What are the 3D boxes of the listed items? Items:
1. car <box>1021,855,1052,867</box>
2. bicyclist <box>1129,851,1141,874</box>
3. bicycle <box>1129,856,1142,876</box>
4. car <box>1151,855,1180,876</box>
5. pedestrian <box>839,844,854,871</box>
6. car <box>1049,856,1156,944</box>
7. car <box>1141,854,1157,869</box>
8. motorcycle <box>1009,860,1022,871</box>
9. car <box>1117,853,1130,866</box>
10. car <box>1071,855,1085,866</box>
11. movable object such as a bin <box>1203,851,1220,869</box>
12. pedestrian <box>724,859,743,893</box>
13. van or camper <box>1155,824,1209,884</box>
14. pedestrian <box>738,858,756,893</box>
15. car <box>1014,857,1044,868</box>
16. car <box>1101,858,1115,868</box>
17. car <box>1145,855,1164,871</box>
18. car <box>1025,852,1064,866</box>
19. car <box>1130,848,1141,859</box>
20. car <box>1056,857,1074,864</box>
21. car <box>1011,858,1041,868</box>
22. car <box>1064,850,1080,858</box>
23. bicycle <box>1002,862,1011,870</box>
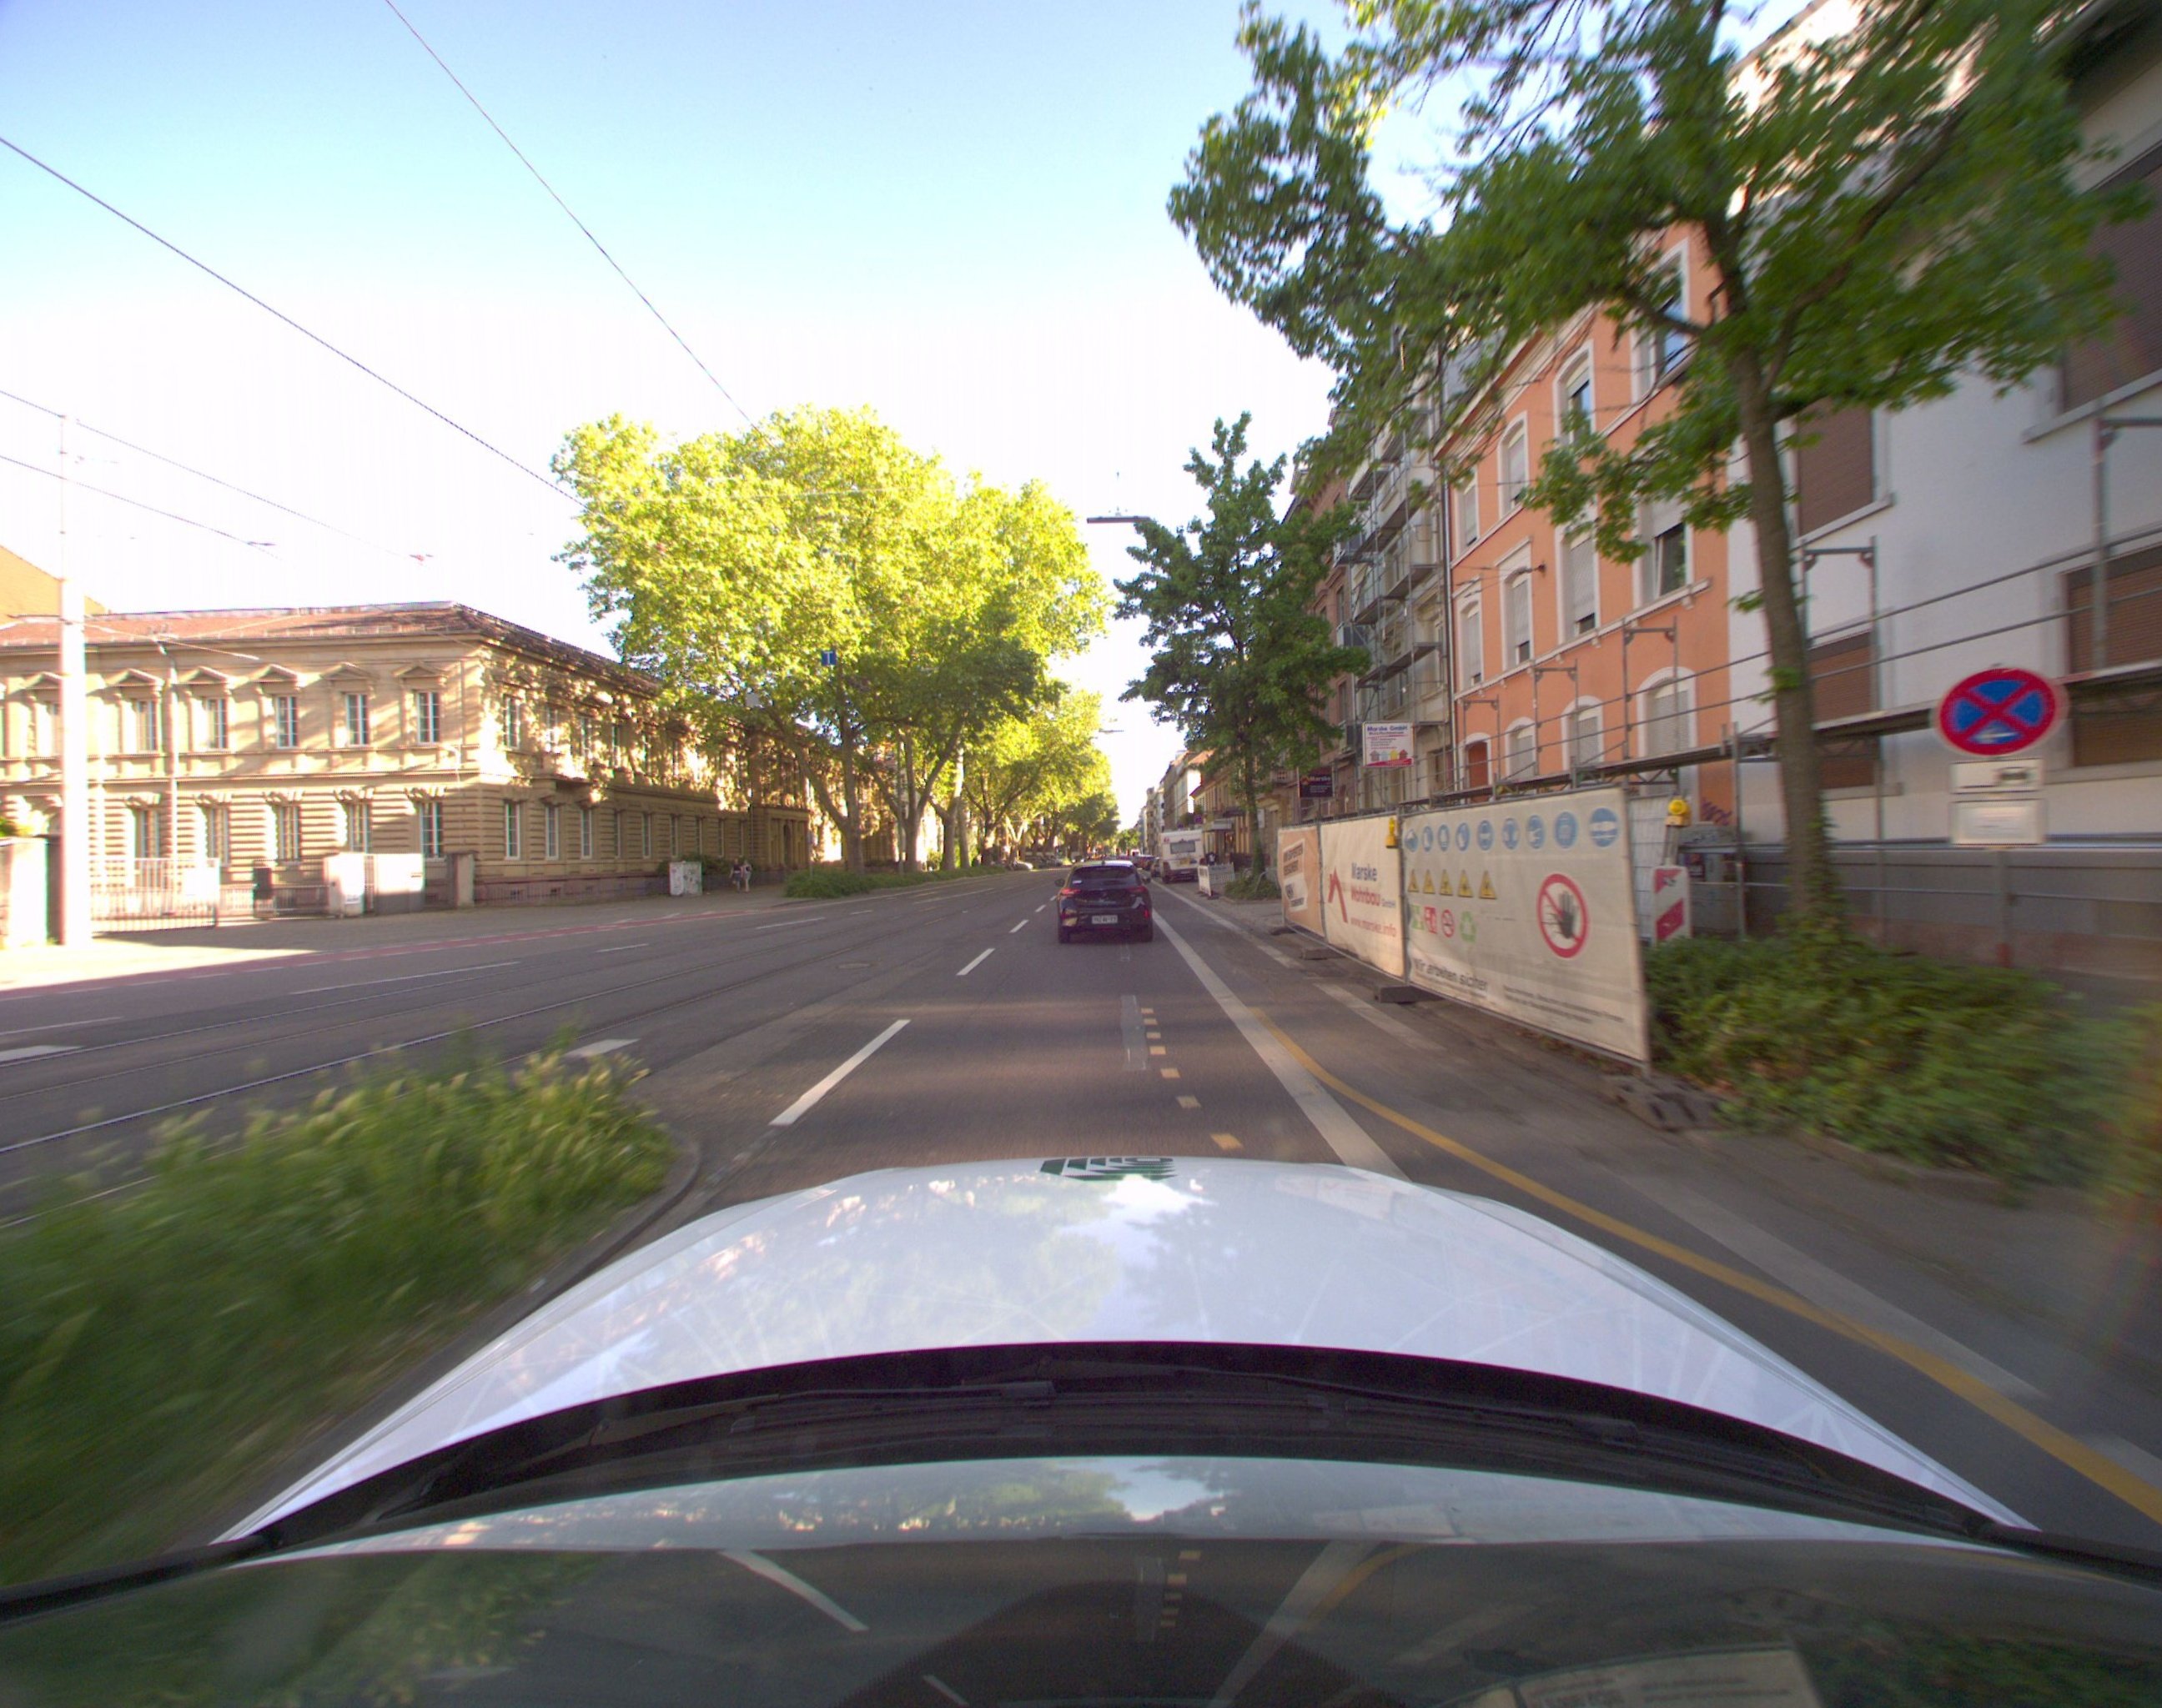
[{"bbox_3d":[-6.940,1.109,127.783,4.654,1.924,1.982,0,-1,3],"label":"car"},{"bbox_3d":[4.020,0.623,60.471,0.845,1.740,1.162,-1,0,1],"label":"bicyclist"},{"bbox_3d":[4.026,0.873,60.400,0.857,1.407,2.525,-1,0,2],"label":"bicycle"},{"bbox_3d":[6.304,0.841,61.017,1.802,1.435,4.667,-2,0,2],"label":"car"},{"bbox_3d":[-16.319,0.252,56.723,0.716,1.849,0.838,-1,-1,2],"label":"pedestrian"},{"bbox_3d":[0.447,0.784,15.539,1.787,1.441,3.533,-1,0,2],"label":"car"},{"bbox_3d":[7.660,0.827,92.059,1.627,1.546,3.579,-2,0,4],"label":"car"},{"bbox_3d":[-7.524,1.332,93.714,0.879,1.147,2.397,-1,0,10],"label":"motorcycle"},{"bbox_3d":[6.307,0.801,120.084,1.802,1.742,3.937,-1,0,4],"label":"car"},{"bbox_3d":[-0.455,1.043,127.854,1.859,1.629,4.563,-2,0,2],"label":"car"},{"bbox_3d":[11.430,0.499,71.408,1.288,1.520,1.287,-1,0,2],"label":"movable object such as a bin"},{"bbox_3d":[-17.466,1.084,40.904,0.670,1.697,0.661,-1,-1,-5],"label":"pedestrian"},{"bbox_3d":[5.736,0.004,47.254,2.466,2.972,7.892,-5,-1,4],"label":"van or camper"},{"bbox_3d":[-16.798,1.077,40.971,0.633,1.697,0.655,-1,-1,-5],"label":"pedestrian"},{"bbox_3d":[-7.398,1.187,115.826,3.979,1.627,1.880,0,-1,2],"label":"car"},{"bbox_3d":[3.717,1.259,112.676,1.803,1.338,3.933,-1,0,1],"label":"car"},{"bbox_3d":[7.210,0.881,79.960,1.686,1.392,4.499,-2,0,4],"label":"car"},{"bbox_3d":[-6.335,0.805,142.755,6.601,2.409,2.459,0,-1,2],"label":"car"},{"bbox_3d":[11.361,-0.094,169.958,2.066,2.219,4.938,-5,-1,4],"label":"car"},{"bbox_3d":[-3.411,1.415,173.517,3.907,1.498,1.677,0,-1,0],"label":"car"},{"bbox_3d":[-7.693,1.246,113.693,3.904,1.442,1.750,0,-1,3],"label":"car"},{"bbox_3d":[-2.334,-0.001,204.199,3.907,1.790,1.677,0,-1,0],"label":"car"},{"bbox_3d":[-8.605,1.375,93.825,0.537,0.940,2.040,-1,0,11],"label":"bicycle"}]
